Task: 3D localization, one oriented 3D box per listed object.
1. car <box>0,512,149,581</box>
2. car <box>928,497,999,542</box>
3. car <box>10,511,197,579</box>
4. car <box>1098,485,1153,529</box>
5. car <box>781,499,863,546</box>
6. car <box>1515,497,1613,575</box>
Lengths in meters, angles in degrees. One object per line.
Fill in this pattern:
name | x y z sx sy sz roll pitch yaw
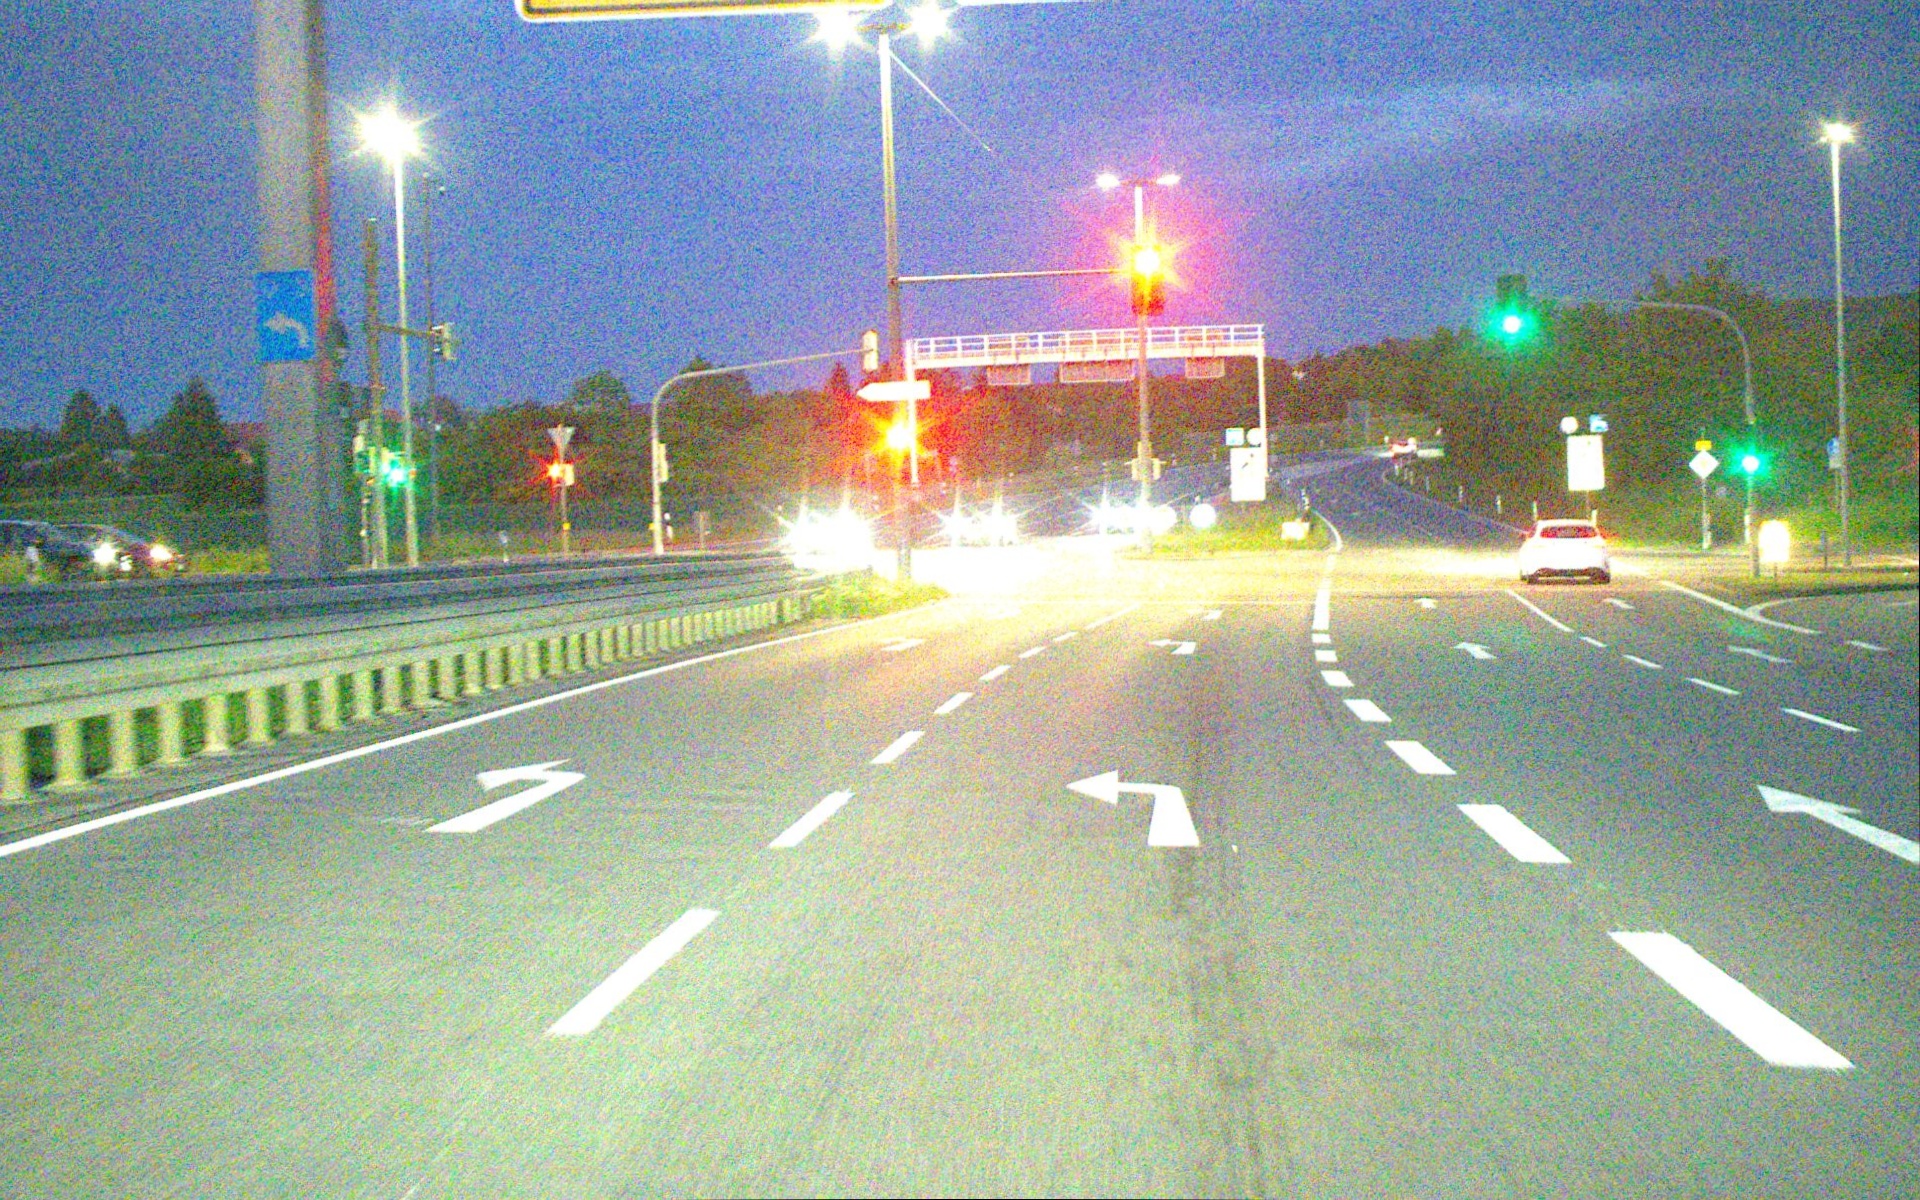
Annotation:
car | -21.350 -1.250 80.331 4.314 1.532 1.729 -1 1 6
car | 0.154 -2.806 119.139 1.994 1.476 4.681 0 2 6
car | -20.822 -1.345 83.646 4.041 1.532 1.729 -1 1 4
car | 6.589 -3.710 136.740 1.994 1.692 4.000 0 2 6
car | -4.392 -2.500 109.981 1.994 1.420 4.532 0 2 6
car | 13.292 -1.429 75.825 2.008 1.605 3.844 -2 1 9
